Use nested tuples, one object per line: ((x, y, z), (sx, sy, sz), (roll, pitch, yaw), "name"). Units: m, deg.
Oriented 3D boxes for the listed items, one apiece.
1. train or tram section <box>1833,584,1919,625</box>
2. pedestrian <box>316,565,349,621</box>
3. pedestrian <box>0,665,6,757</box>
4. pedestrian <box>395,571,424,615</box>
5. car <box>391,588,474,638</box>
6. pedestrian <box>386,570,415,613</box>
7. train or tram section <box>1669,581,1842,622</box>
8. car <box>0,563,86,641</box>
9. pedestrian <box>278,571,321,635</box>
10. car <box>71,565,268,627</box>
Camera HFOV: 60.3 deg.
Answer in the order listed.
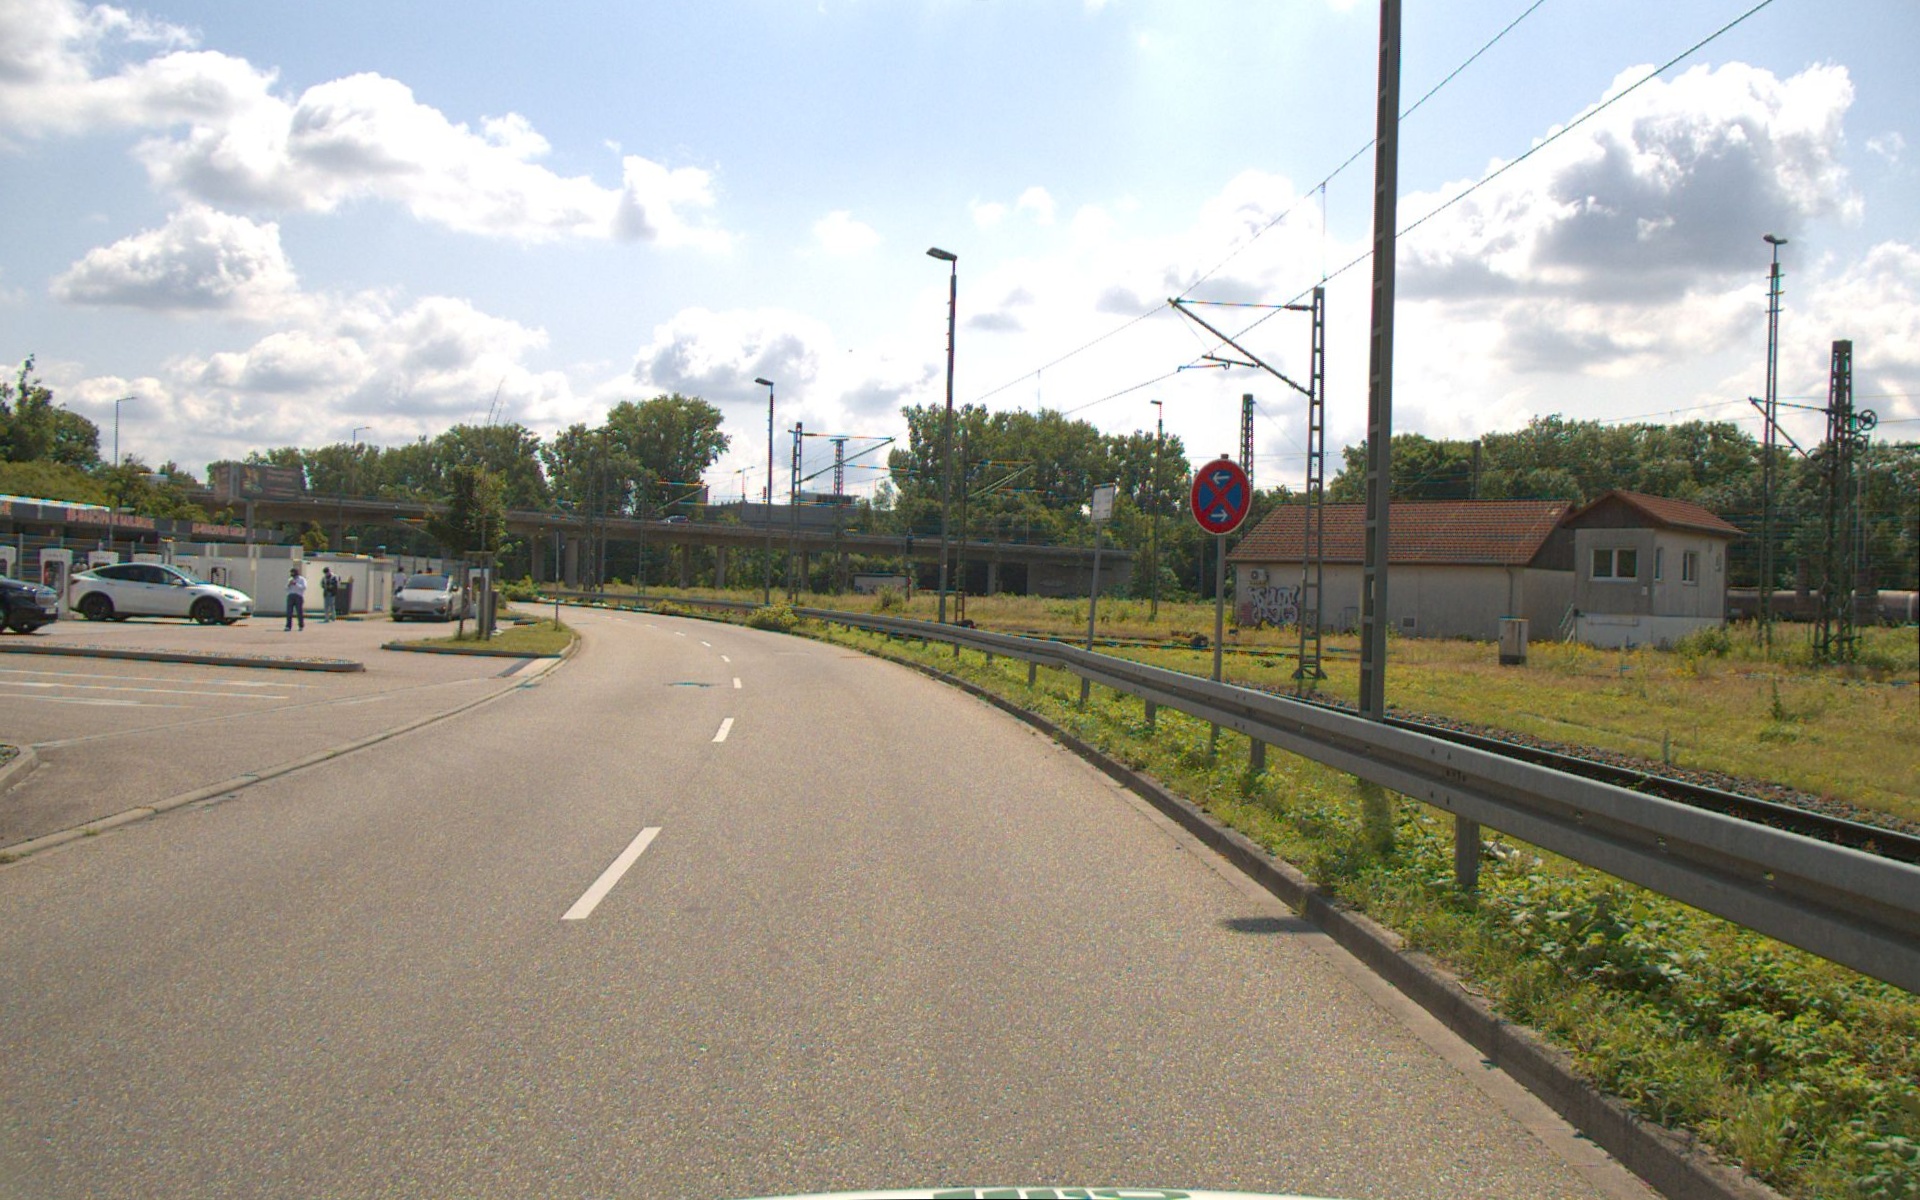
((81.891, 0.397, 138.355), (15.479, 3.363, 3.016), (1, 0, 42), "train or tram section")
((-20.325, -0.237, 53.580), (0.848, 1.782, 0.724), (2, -1, -15), "pedestrian")
((-8.499, 0.929, 13.563), (0.844, 0.773, 0.818), (2, 1, 1), "pedestrian")
((-20.576, -0.266, 61.808), (0.698, 1.607, 0.720), (0, -1, 32), "pedestrian")
((-18.665, 0.425, 58.770), (1.894, 1.544, 4.769), (2, 2, -7), "car")
((-21.109, -0.321, 62.380), (0.745, 1.593, 0.710), (0, -1, 38), "pedestrian")
((71.036, 0.102, 148.140), (13.692, 3.363, 3.016), (2, 0, 42), "train or tram section")
((-20.582, -0.007, 34.198), (3.913, 1.546, 1.996), (2, -1, -9), "car")
((-17.557, 0.079, 43.989), (0.846, 1.682, 0.939), (2, 0, -10), "pedestrian")
((-21.790, -0.095, 45.783), (4.468, 1.551, 1.995), (2, -1, -10), "car")
